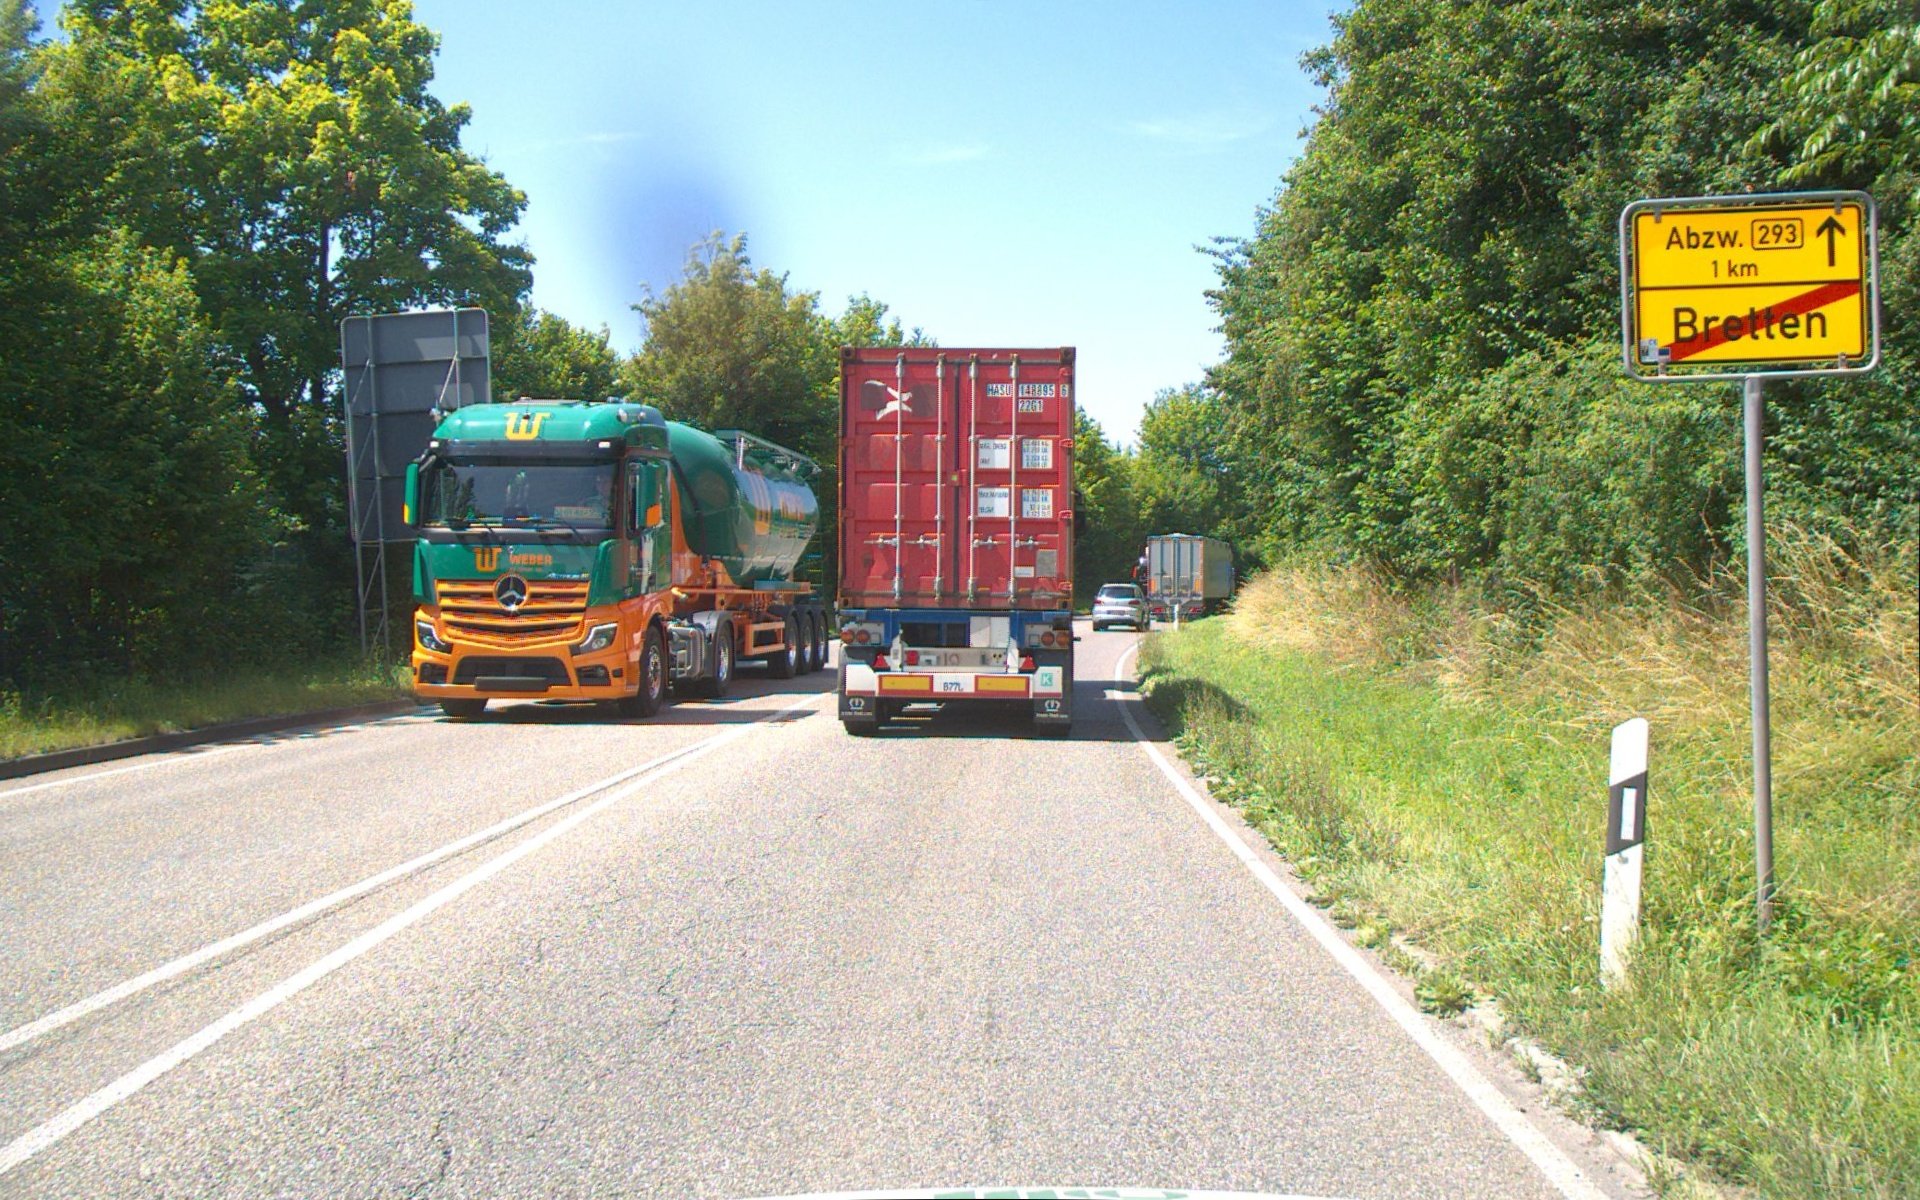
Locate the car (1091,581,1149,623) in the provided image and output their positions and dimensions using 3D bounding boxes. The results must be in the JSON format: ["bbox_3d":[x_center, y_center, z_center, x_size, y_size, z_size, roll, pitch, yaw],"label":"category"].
[{"bbox_3d":[5.793,0.048,59.614,1.793,1.458,4.004,0,1,10],"label":"car"}]

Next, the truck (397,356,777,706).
[{"bbox_3d":[-4.460,-0.780,21.713,2.524,3.744,7.881,0,1,5],"label":"truck"}]

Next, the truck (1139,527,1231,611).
[{"bbox_3d":[11.192,-1.470,81.134,2.859,3.782,13.370,0,1,15],"label":"truck"}]

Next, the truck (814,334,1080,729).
[{"bbox_3d":[0.322,-0.706,22.981,2.592,3.873,13.366,1,0,4],"label":"truck"}]

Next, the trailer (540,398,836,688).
[{"bbox_3d":[-3.998,-0.811,26.693,2.523,3.886,8.921,0,1,5],"label":"trailer"}]
